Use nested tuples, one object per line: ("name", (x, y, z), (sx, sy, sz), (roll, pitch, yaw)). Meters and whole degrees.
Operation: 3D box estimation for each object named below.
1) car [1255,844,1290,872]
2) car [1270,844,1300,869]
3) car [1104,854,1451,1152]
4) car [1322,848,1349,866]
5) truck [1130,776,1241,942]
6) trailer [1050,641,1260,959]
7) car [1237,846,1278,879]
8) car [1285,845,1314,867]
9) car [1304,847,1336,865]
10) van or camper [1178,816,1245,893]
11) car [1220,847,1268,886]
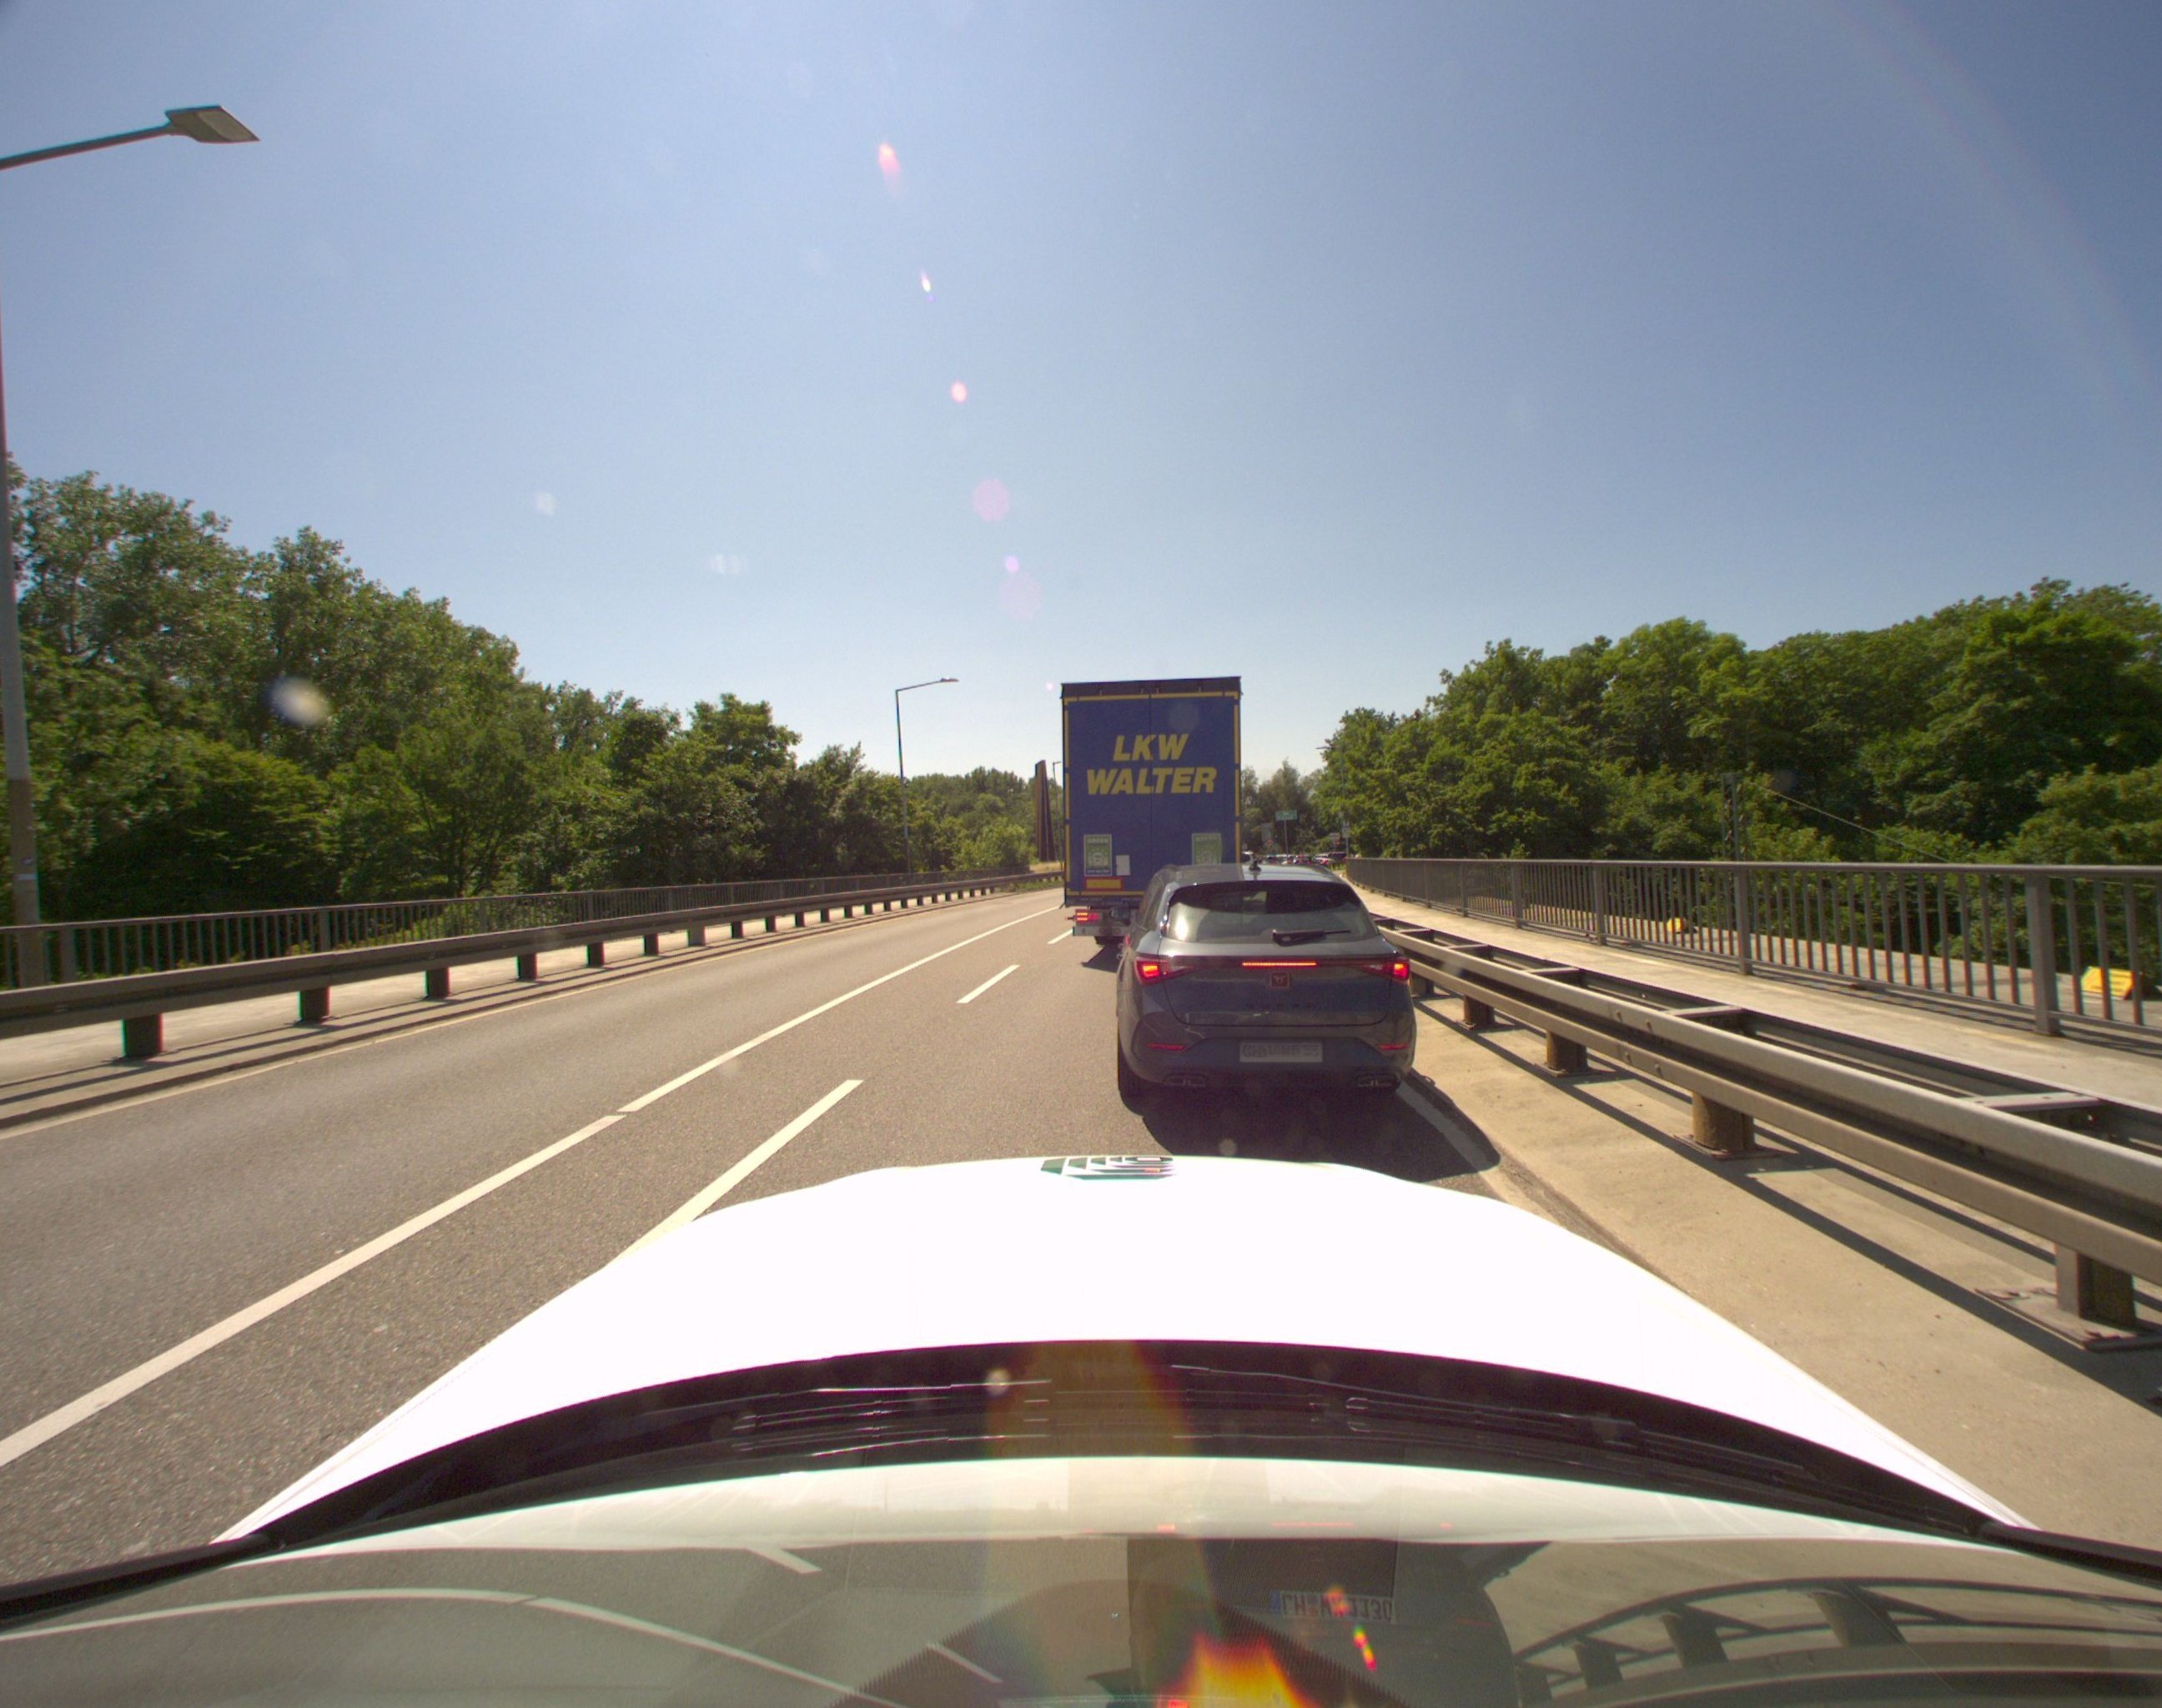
("car", (12.921, 0.244, 54.810), (1.706, 1.844, 4.021), (-1, 0, 21))
("car", (15.361, 0.172, 61.284), (1.706, 1.844, 4.021), (-1, 0, 21))
("car", (1.111, 0.753, 6.020), (1.669, 1.456, 3.963), (-1, 0, 4))
("car", (24.981, 0.286, 79.923), (1.669, 1.760, 4.025), (-2, -1, 30))
("truck", (3.346, 0.140, 25.095), (2.887, 4.418, 6.573), (-1, 0, 10))
("trailer", (2.060, -0.747, 17.648), (2.887, 4.418, 12.466), (-1, 0, 10))
("car", (10.268, 0.481, 47.202), (1.706, 1.802, 4.020), (-1, 0, 20))
("car", (18.231, 0.206, 67.869), (1.670, 1.760, 4.023), (-1, -1, 25))
("car", (21.796, 0.205, 74.057), (1.975, 1.575, 4.024), (0, -1, 28))
("van or camper", (5.499, 0.019, 33.617), (2.139, 2.815, 6.411), (-1, 0, 14))
("car", (8.238, 0.599, 40.927), (1.706, 1.844, 4.020), (-1, 0, 20))
